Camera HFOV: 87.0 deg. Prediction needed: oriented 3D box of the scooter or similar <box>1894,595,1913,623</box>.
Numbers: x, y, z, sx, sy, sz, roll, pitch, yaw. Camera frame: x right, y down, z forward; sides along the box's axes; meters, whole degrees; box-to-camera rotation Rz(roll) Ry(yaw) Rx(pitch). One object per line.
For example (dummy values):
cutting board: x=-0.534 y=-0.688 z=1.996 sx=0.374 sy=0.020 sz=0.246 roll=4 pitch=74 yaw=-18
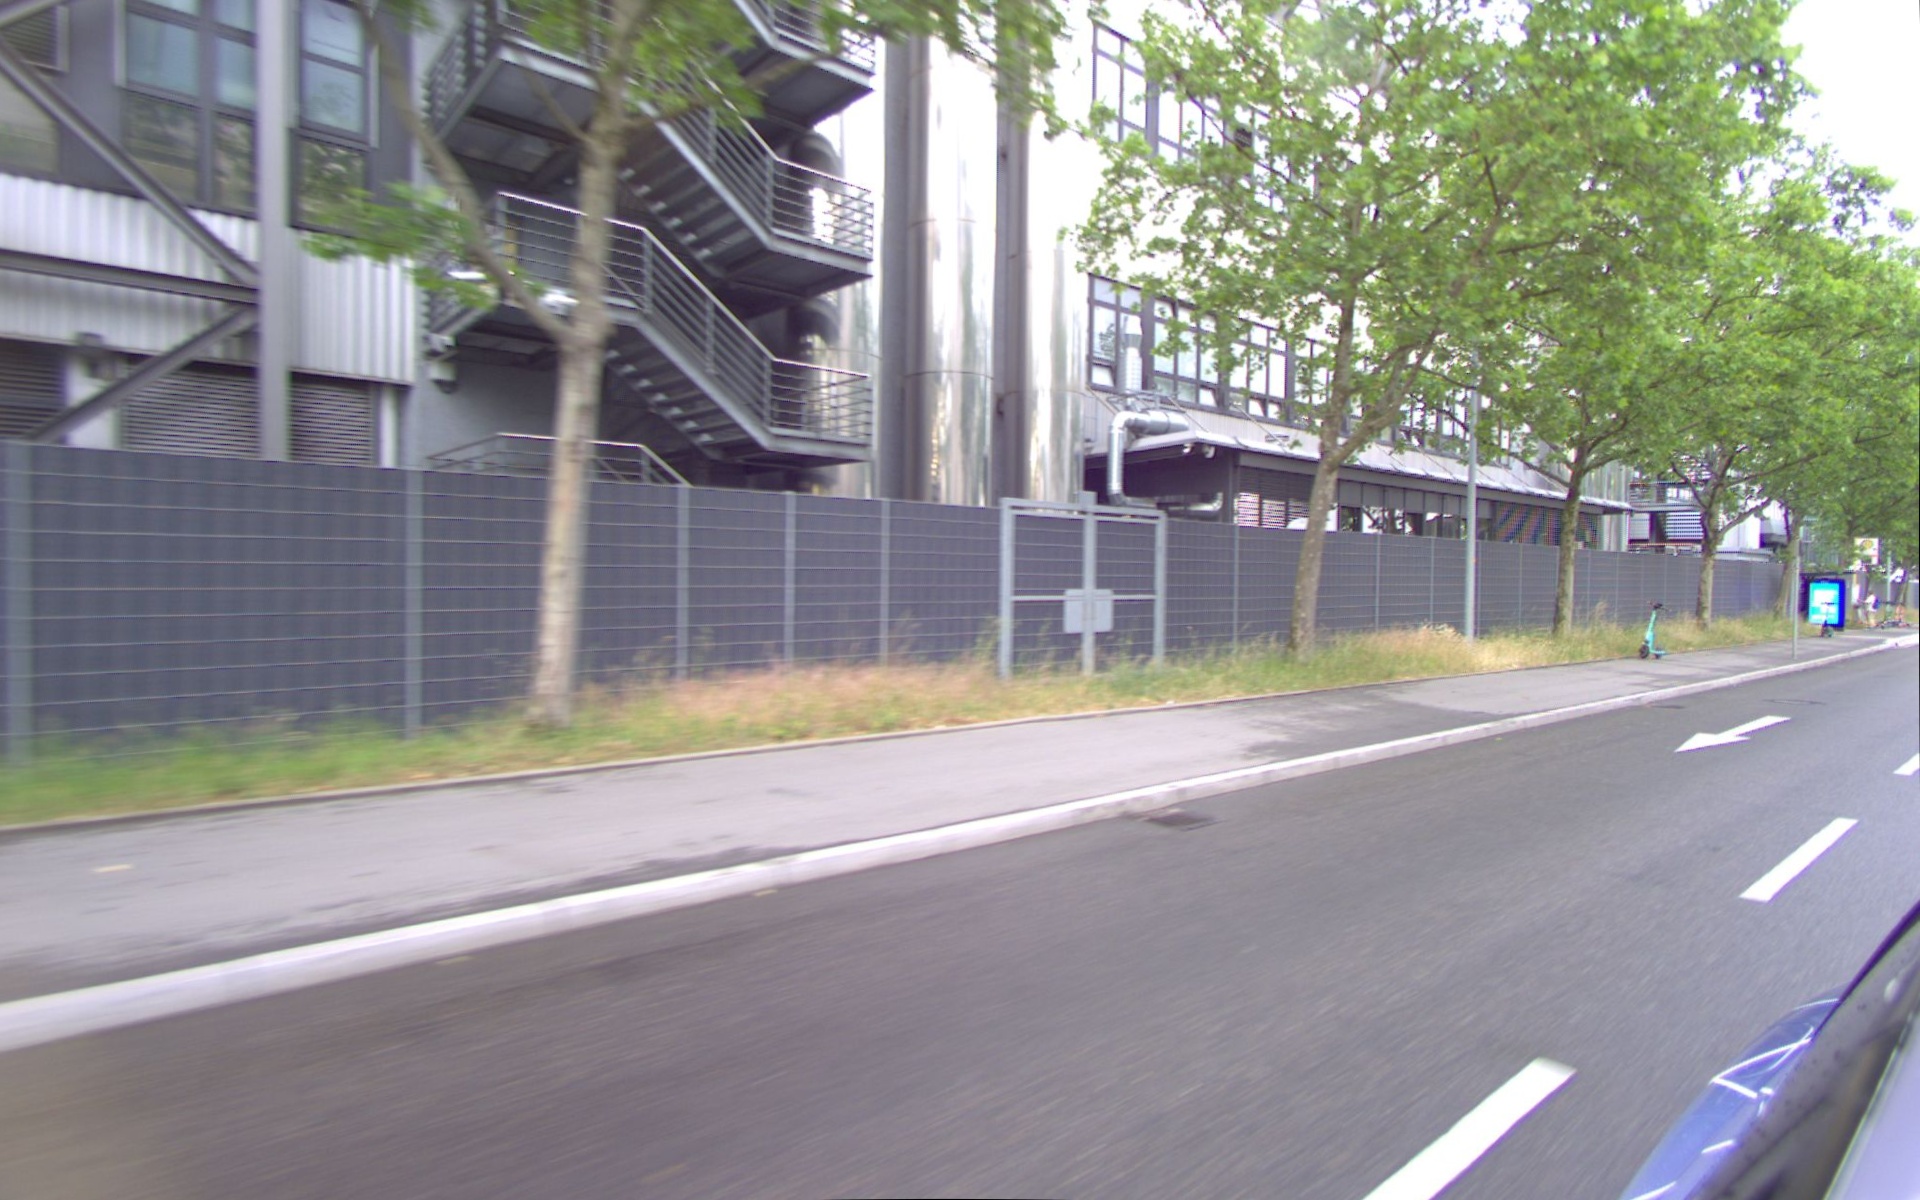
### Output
scooter or similar: x=45.185 y=0.444 z=48.471 sx=1.277 sy=1.311 sz=0.437 roll=0 pitch=1 yaw=-38

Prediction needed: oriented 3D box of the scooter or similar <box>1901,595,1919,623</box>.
scooter or similar: x=46.676 y=0.440 z=49.643 sx=1.340 sy=1.311 sz=0.437 roll=0 pitch=1 yaw=-34

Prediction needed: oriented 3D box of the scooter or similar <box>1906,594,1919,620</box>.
scooter or similar: x=48.958 y=0.360 z=51.810 sx=1.275 sy=1.301 sz=0.437 roll=0 pitch=1 yaw=-34

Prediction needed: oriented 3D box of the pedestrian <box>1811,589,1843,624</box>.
pedestrian: x=36.917 y=0.258 z=43.109 sx=0.686 sy=1.433 sz=0.932 roll=0 pitch=1 yaw=-41

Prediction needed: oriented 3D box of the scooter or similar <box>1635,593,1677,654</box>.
scooter or similar: x=15.004 y=0.488 z=21.811 sx=1.087 sy=1.285 sz=0.330 roll=0 pitch=1 yaw=-32

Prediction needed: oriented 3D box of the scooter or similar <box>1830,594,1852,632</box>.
scooter or similar: x=31.632 y=0.463 z=36.343 sx=1.222 sy=1.325 sz=0.329 roll=0 pitch=1 yaw=-37

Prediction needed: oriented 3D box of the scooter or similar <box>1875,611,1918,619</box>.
scooter or similar: x=47.446 y=0.757 z=51.284 sx=1.231 sy=0.349 sz=1.104 roll=0 pitch=2 yaw=-17

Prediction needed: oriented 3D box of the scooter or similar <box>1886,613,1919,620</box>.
scooter or similar: x=49.776 y=0.863 z=53.238 sx=1.168 sy=0.314 sz=1.194 roll=2 pitch=2 yaw=21

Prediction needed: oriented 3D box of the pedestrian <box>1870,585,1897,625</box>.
pedestrian: x=40.853 y=0.197 z=44.788 sx=0.717 sy=1.731 sz=0.777 roll=0 pitch=1 yaw=-41

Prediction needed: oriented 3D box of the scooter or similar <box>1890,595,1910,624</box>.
scooter or similar: x=43.653 y=0.451 z=46.988 sx=1.277 sy=1.311 sz=0.437 roll=0 pitch=1 yaw=-38

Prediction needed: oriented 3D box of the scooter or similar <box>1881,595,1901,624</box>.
scooter or similar: x=42.498 y=0.424 z=46.196 sx=1.277 sy=1.311 sz=0.437 roll=0 pitch=1 yaw=-38
